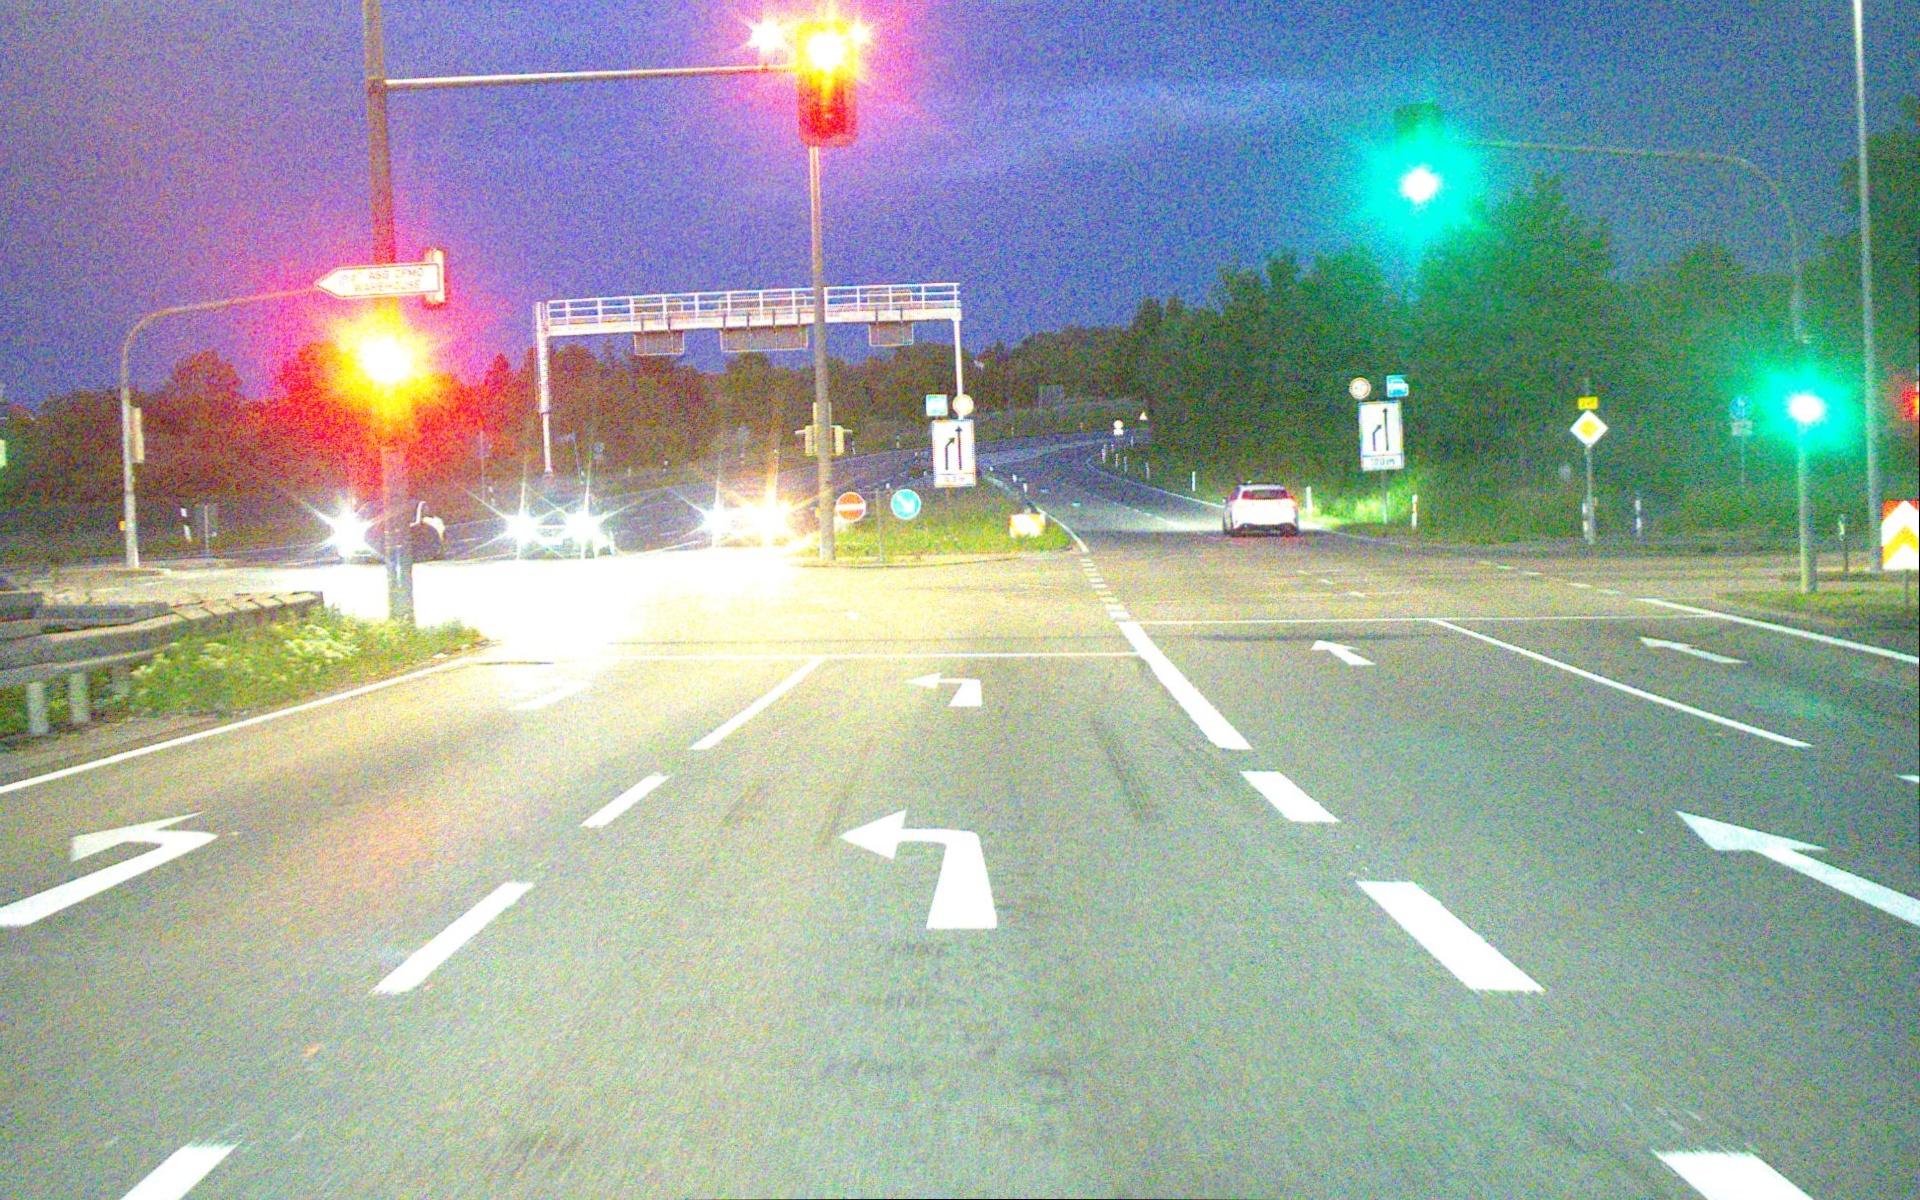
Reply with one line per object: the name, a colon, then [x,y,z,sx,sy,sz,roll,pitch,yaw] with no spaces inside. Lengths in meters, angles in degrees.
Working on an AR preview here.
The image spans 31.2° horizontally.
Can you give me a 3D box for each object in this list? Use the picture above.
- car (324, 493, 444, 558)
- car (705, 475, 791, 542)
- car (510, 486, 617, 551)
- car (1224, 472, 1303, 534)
car: [-13.351,-1.755,79.902,1.993,1.420,4.533,-1,2,0]
car: [-5.594,-2.441,91.220,1.993,1.692,4.001,-1,2,0]
car: [-9.492,-1.974,82.619,1.993,1.476,4.682,-1,2,0]
car: [8.177,-2.634,92.913,2.008,1.605,3.845,0,2,4]
